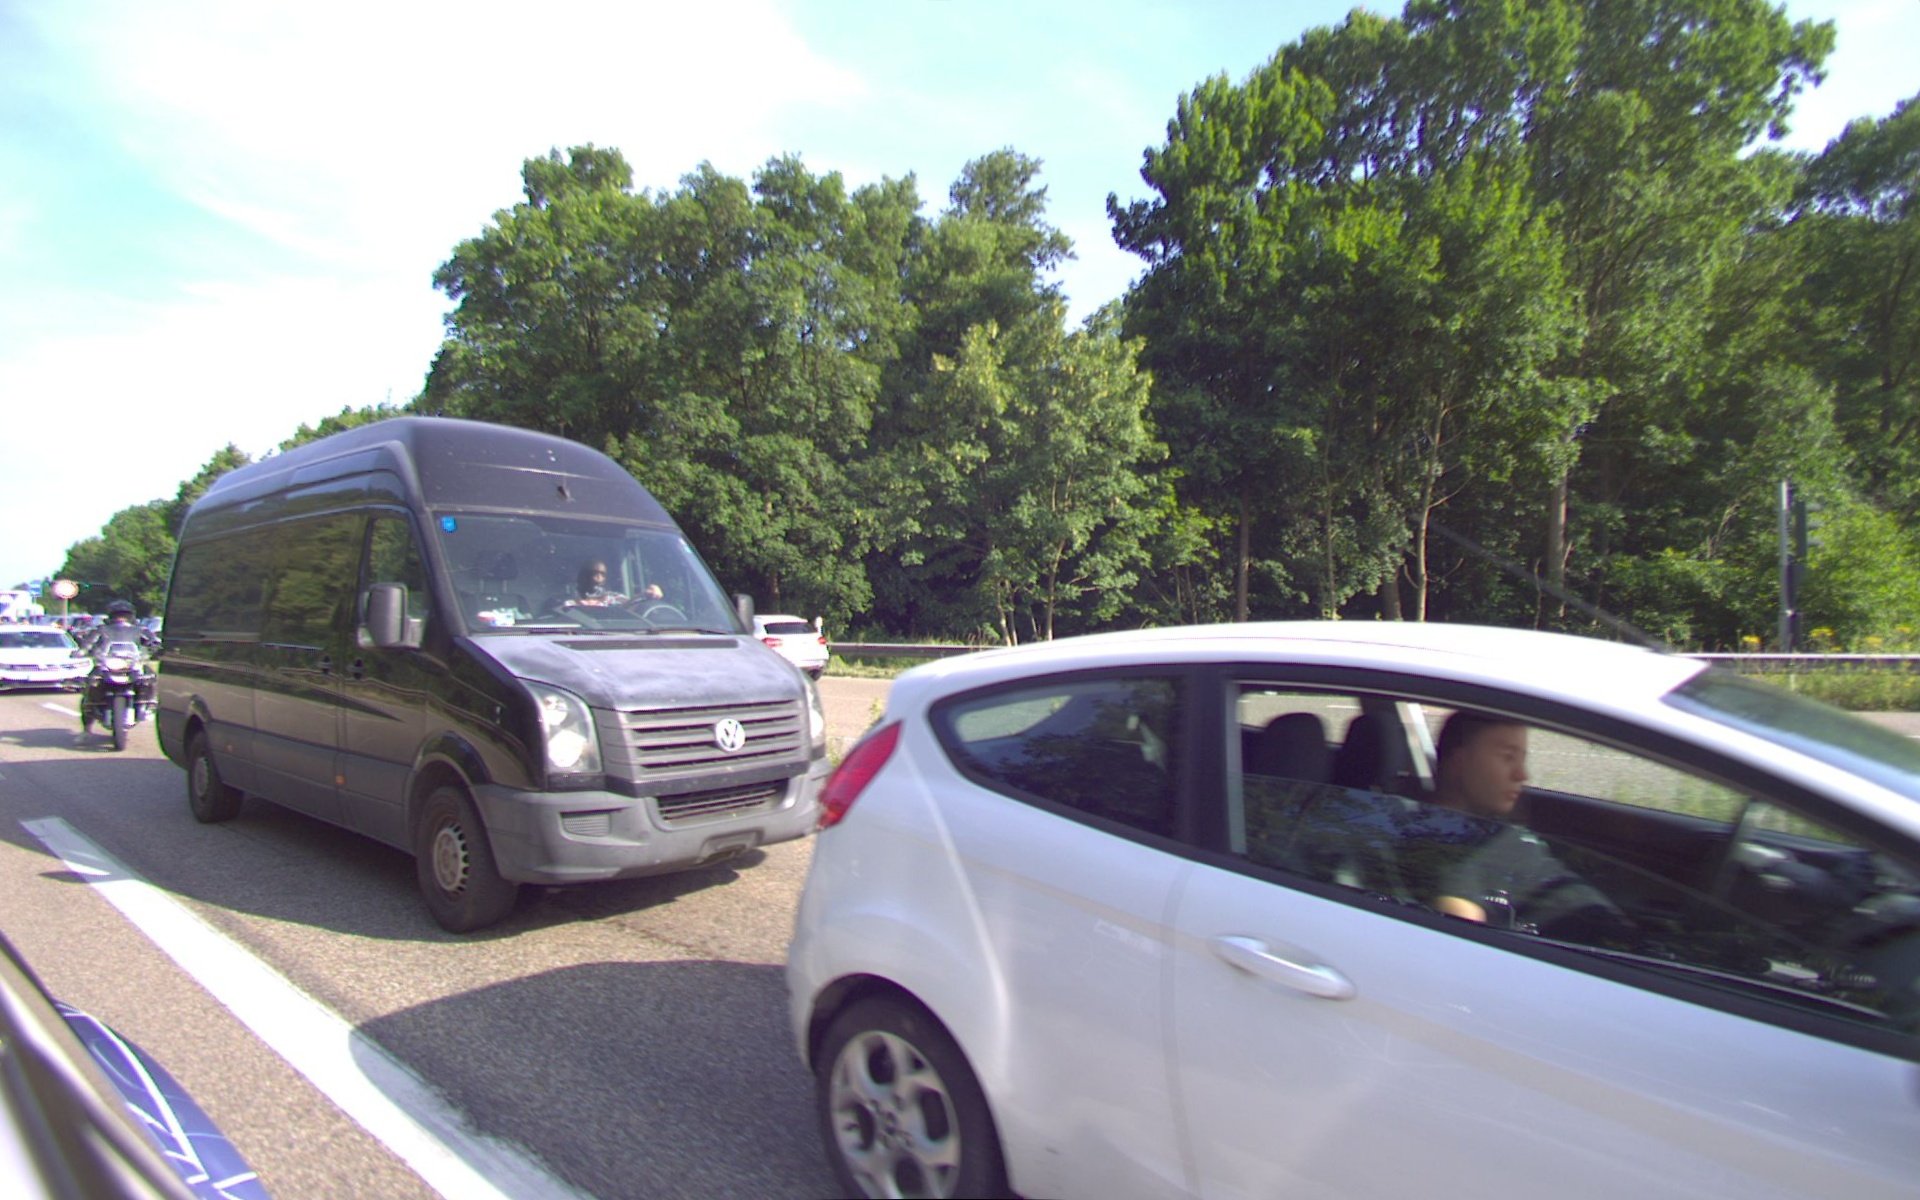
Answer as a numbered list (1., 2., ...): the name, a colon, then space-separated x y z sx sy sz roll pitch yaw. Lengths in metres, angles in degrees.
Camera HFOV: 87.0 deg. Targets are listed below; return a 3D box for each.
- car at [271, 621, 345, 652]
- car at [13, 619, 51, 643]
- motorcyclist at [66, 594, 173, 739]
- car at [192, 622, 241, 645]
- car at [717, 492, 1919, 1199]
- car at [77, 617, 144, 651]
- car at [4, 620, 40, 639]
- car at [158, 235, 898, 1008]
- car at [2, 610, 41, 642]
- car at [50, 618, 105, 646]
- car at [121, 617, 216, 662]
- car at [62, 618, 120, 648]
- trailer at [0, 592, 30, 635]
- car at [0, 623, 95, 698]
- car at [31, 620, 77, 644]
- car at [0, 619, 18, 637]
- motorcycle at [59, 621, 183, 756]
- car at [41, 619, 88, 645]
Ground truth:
1. car: -31.400 1.752 48.702 4.752 1.417 1.769 -2 -1 41
2. car: -67.030 2.233 73.095 4.802 1.682 1.751 -2 -2 44
3. motorcyclist: -10.215 0.769 12.289 0.873 1.628 1.291 -2 0 -44
4. car: -46.375 2.109 63.086 4.376 1.389 1.719 -2 -2 44
5. car: 1.395 0.647 1.994 4.103 1.501 1.628 -2 -2 42
6. car: -38.131 1.518 45.374 4.417 1.428 1.846 -2 -2 44
7. car: -72.025 2.270 77.715 5.187 1.468 1.740 -2 -2 44
8. car: -3.599 0.164 7.048 7.013 2.911 2.185 -2 -2 44
9. car: -77.764 2.135 83.834 6.165 2.553 2.052 -2 -2 44
10. car: -47.128 1.697 54.012 5.195 1.434 1.747 -2 -2 44
11. car: -27.105 1.359 34.605 4.225 1.422 1.769 -2 -4 41
12. car: -42.386 1.605 49.353 4.435 1.428 1.747 -2 -2 44
13. trailer: -96.251 1.437 101.703 14.014 4.026 2.959 -2 0 43
14. car: -20.940 1.293 22.608 4.833 1.533 1.850 -2 -3 43
15. car: -55.984 1.966 62.509 5.194 1.434 1.751 -2 -2 44
16. car: -89.029 2.585 94.201 4.370 1.644 1.681 -2 -2 43
17. motorcycle: -10.215 1.022 12.282 0.898 1.465 2.691 4 -4 -44
18. car: -50.989 1.815 57.604 4.213 1.434 1.687 -2 -2 44
